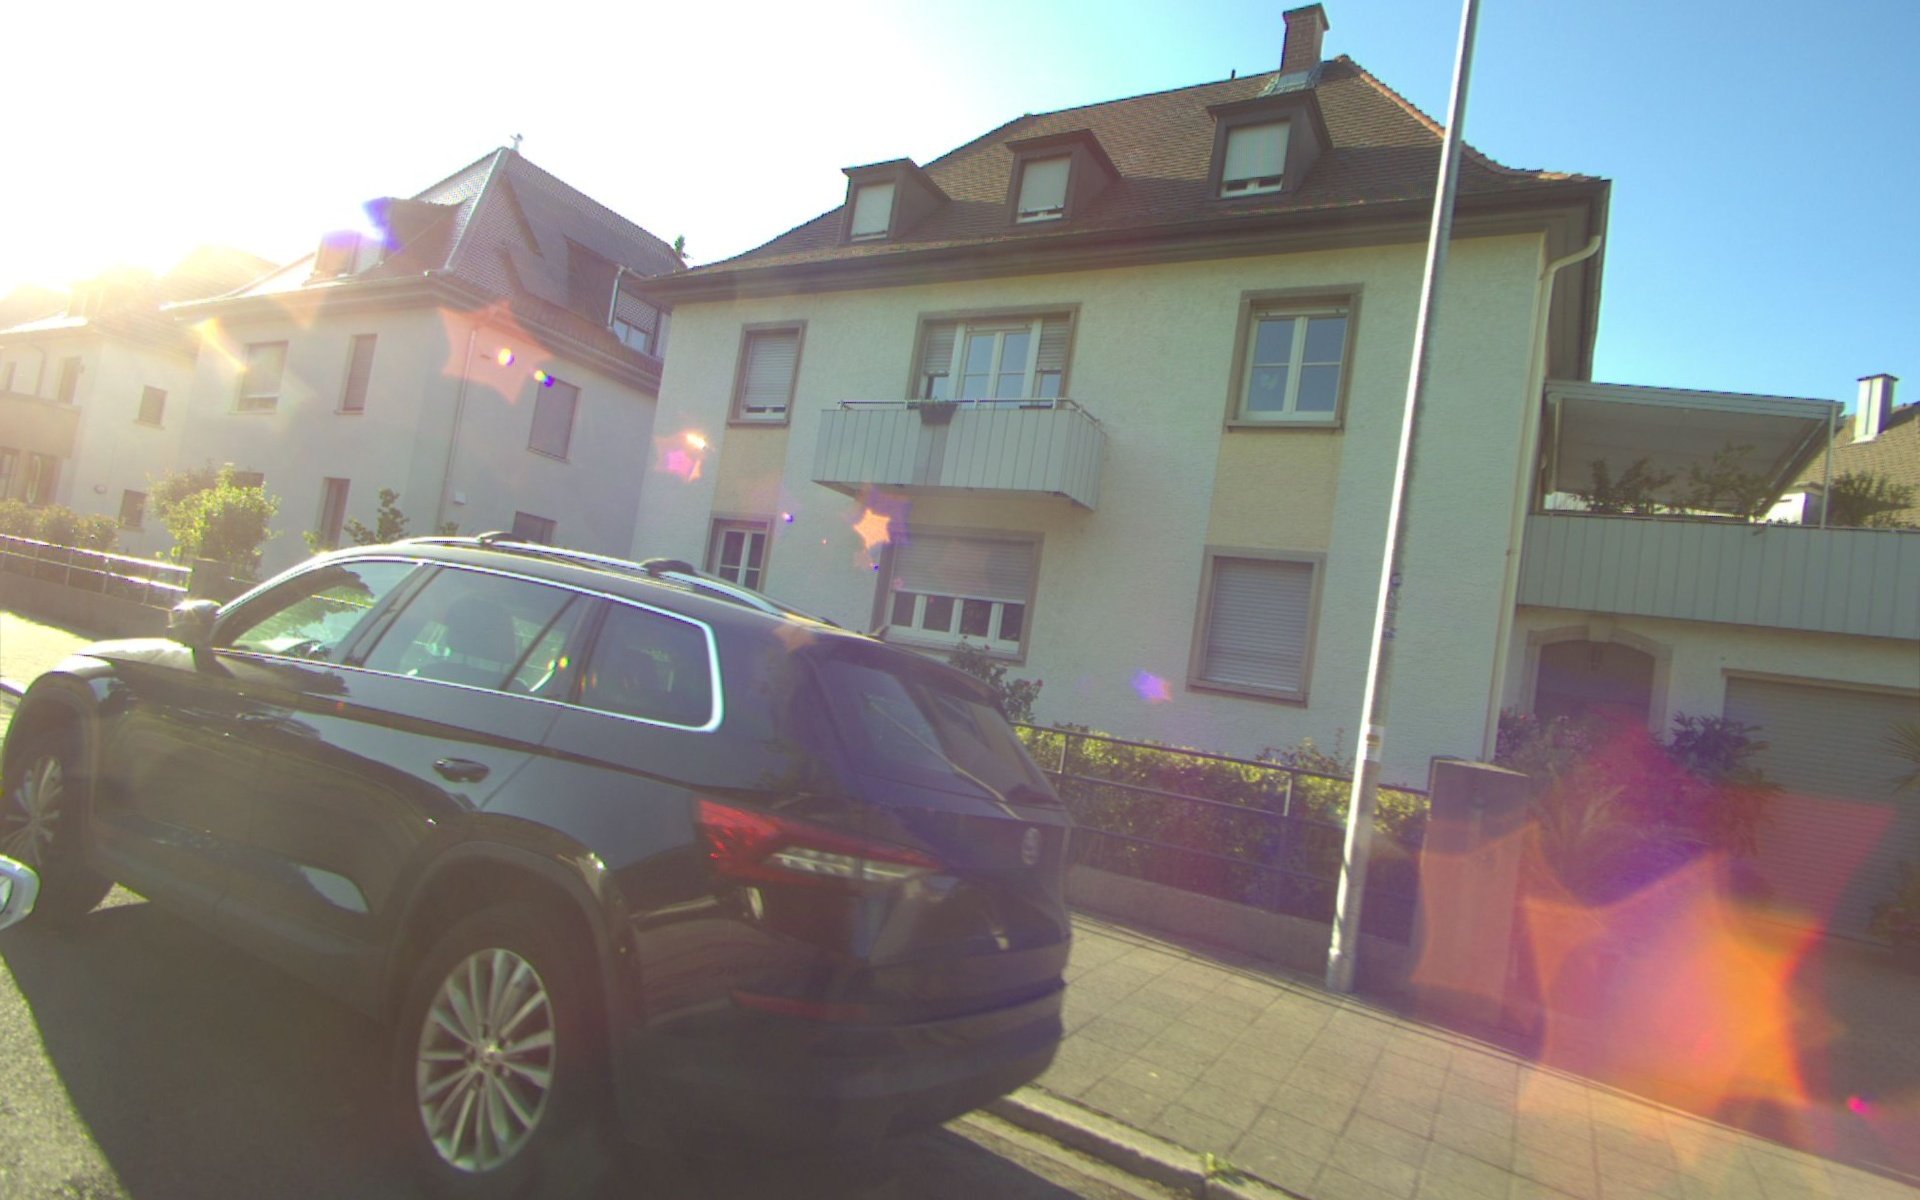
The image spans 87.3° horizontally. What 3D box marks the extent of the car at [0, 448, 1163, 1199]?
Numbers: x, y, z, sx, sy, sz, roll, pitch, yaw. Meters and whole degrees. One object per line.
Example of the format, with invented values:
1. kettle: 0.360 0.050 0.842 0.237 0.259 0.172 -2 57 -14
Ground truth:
1. car: -1.742 0.629 3.849 4.392 1.732 1.870 6 -10 30
